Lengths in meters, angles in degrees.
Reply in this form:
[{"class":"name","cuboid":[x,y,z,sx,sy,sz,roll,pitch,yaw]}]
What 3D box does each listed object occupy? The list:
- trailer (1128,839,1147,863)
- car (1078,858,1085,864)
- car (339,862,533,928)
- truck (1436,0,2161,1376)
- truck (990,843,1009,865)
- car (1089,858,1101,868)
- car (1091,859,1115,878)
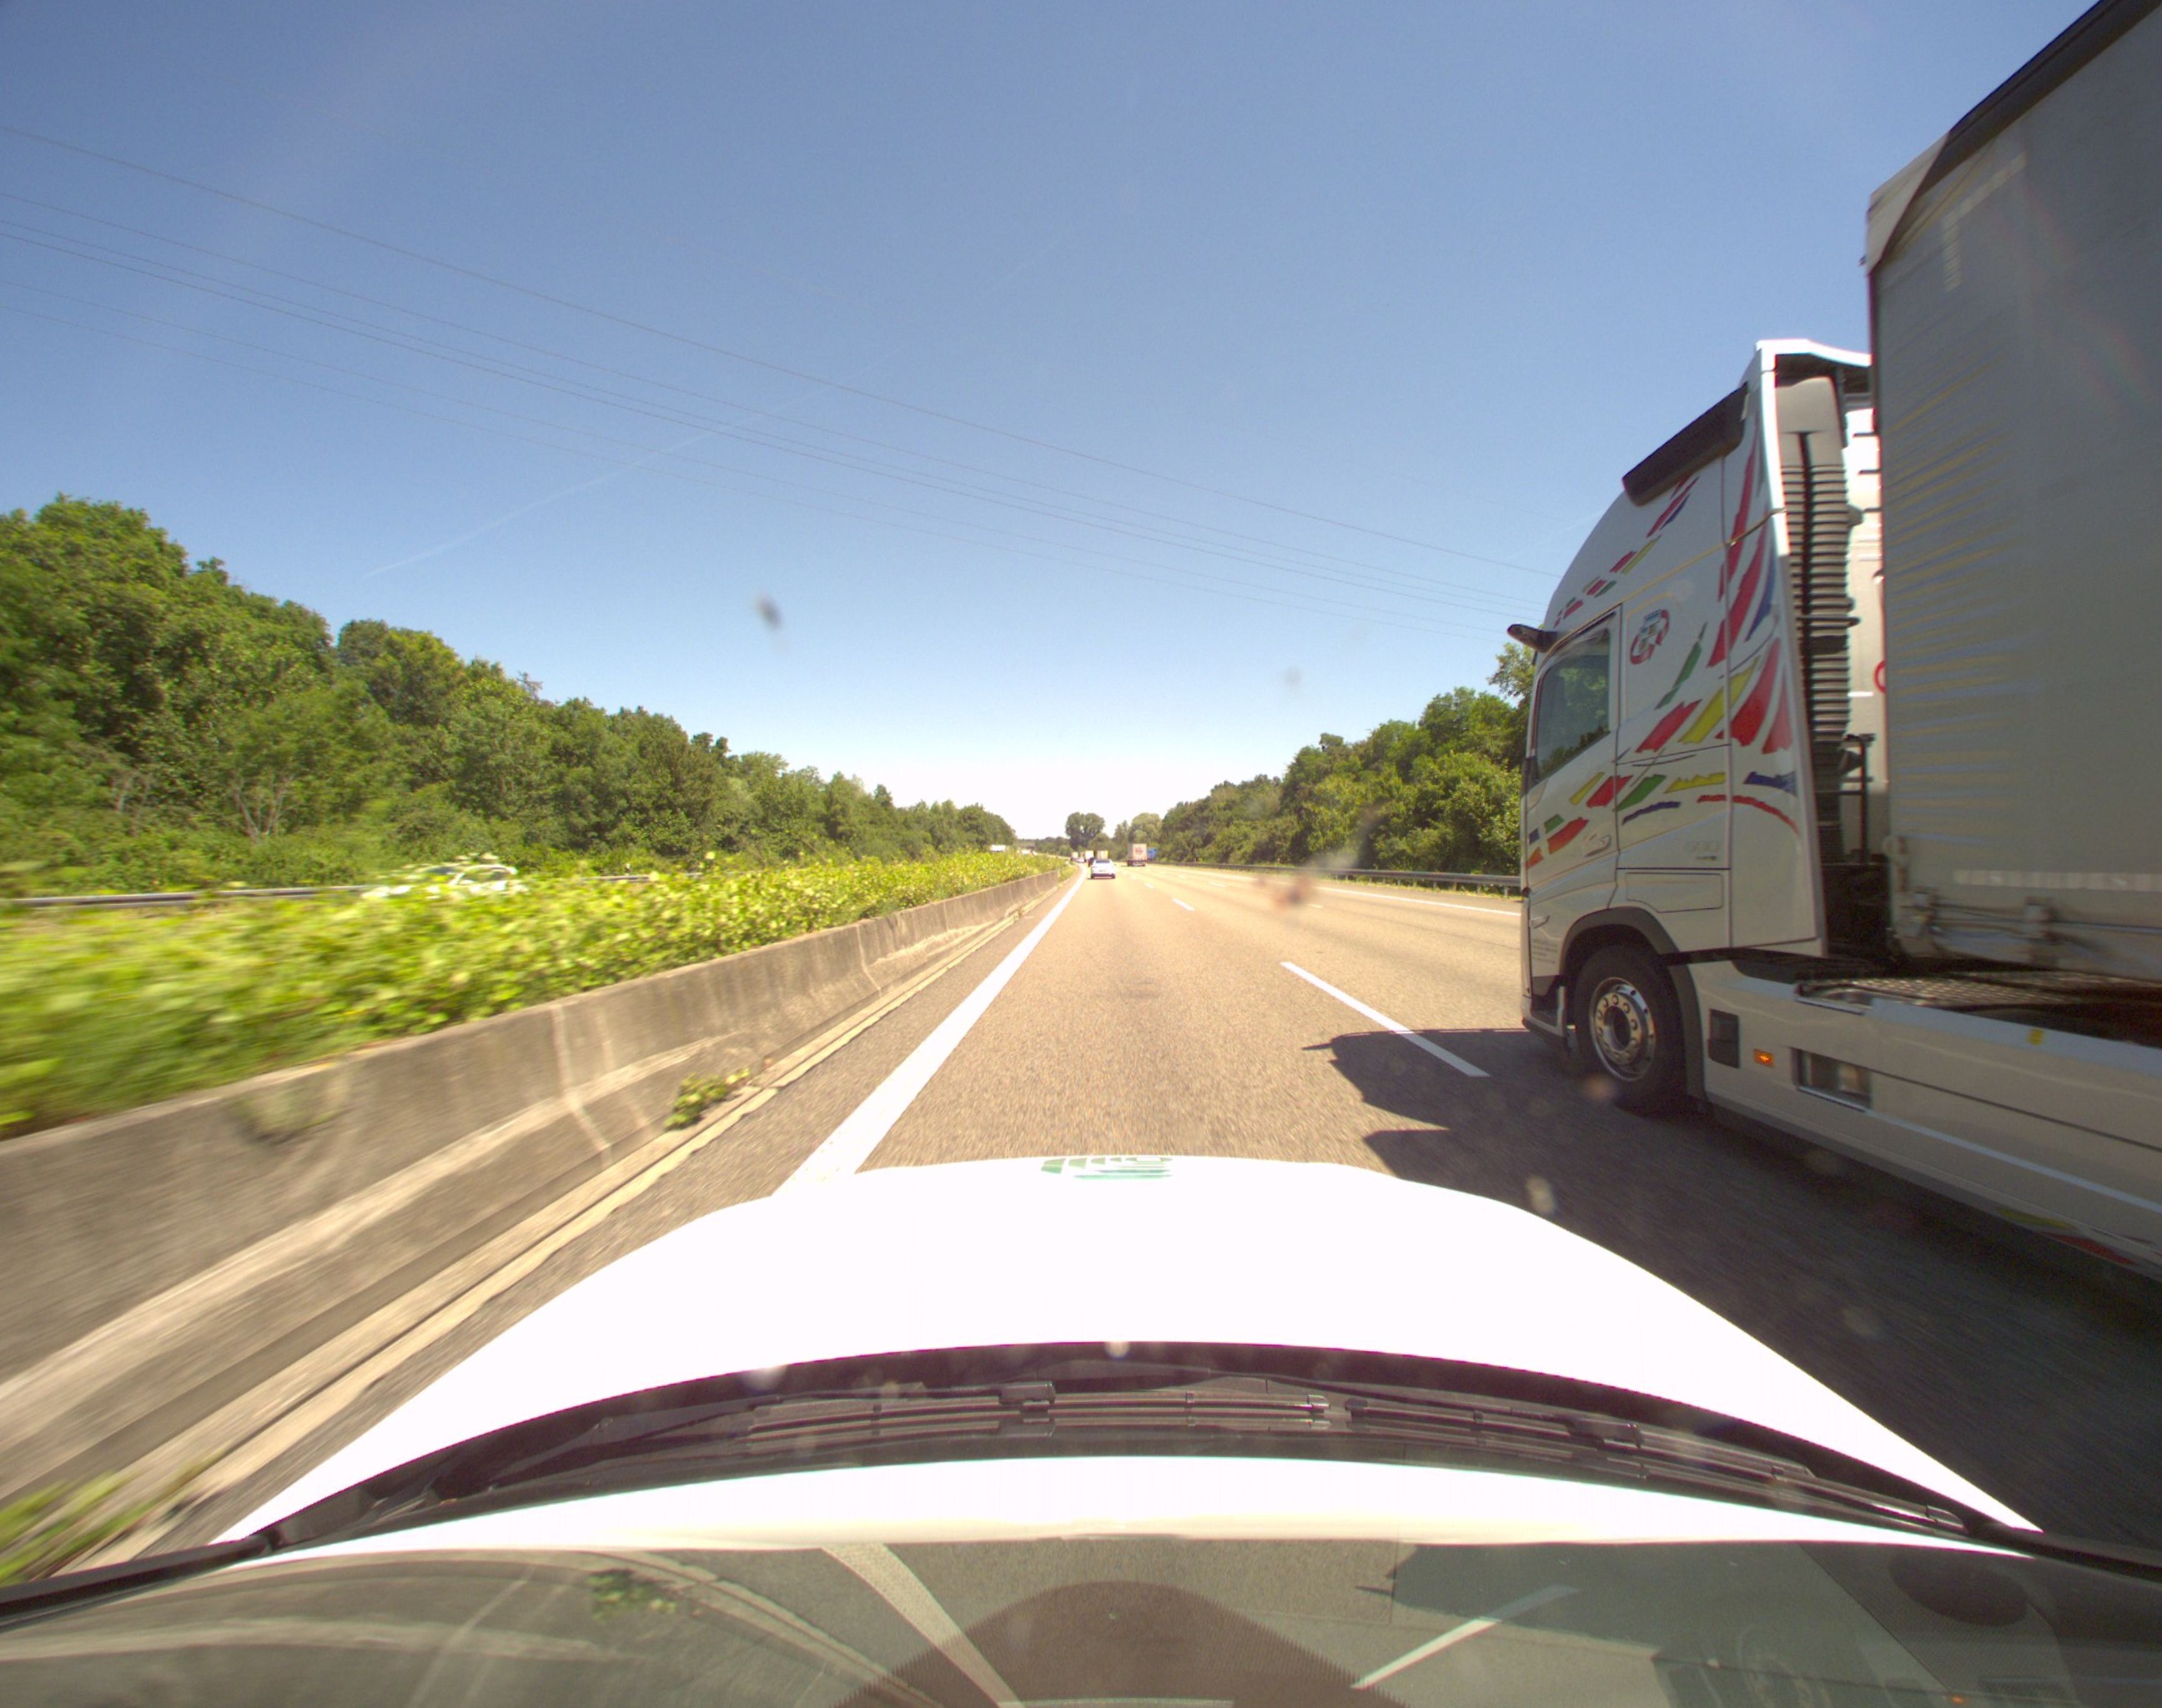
[{"class":"trailer","cuboid":[10.184,-0.481,147.353,2.615,4.261,14.060,0,0,0]},{"class":"car","cuboid":[0.157,1.996,250.346,1.717,1.783,4.002,-1,0,2]},{"class":"car","cuboid":[-16.314,0.973,20.902,1.714,1.479,4.001,-1,0,1]},{"class":"truck","cuboid":[4.316,-0.573,3.649,2.713,3.975,6.502,0,0,1]},{"class":"truck","cuboid":[-15.026,-0.045,149.987,2.651,3.985,6.555,0,0,1]},{"class":"car","cuboid":[2.417,1.571,142.592,1.988,1.772,3.998,-1,0,-1]},{"class":"car","cuboid":[1.670,1.068,60.097,1.709,1.369,3.376,0,0,2]}]
